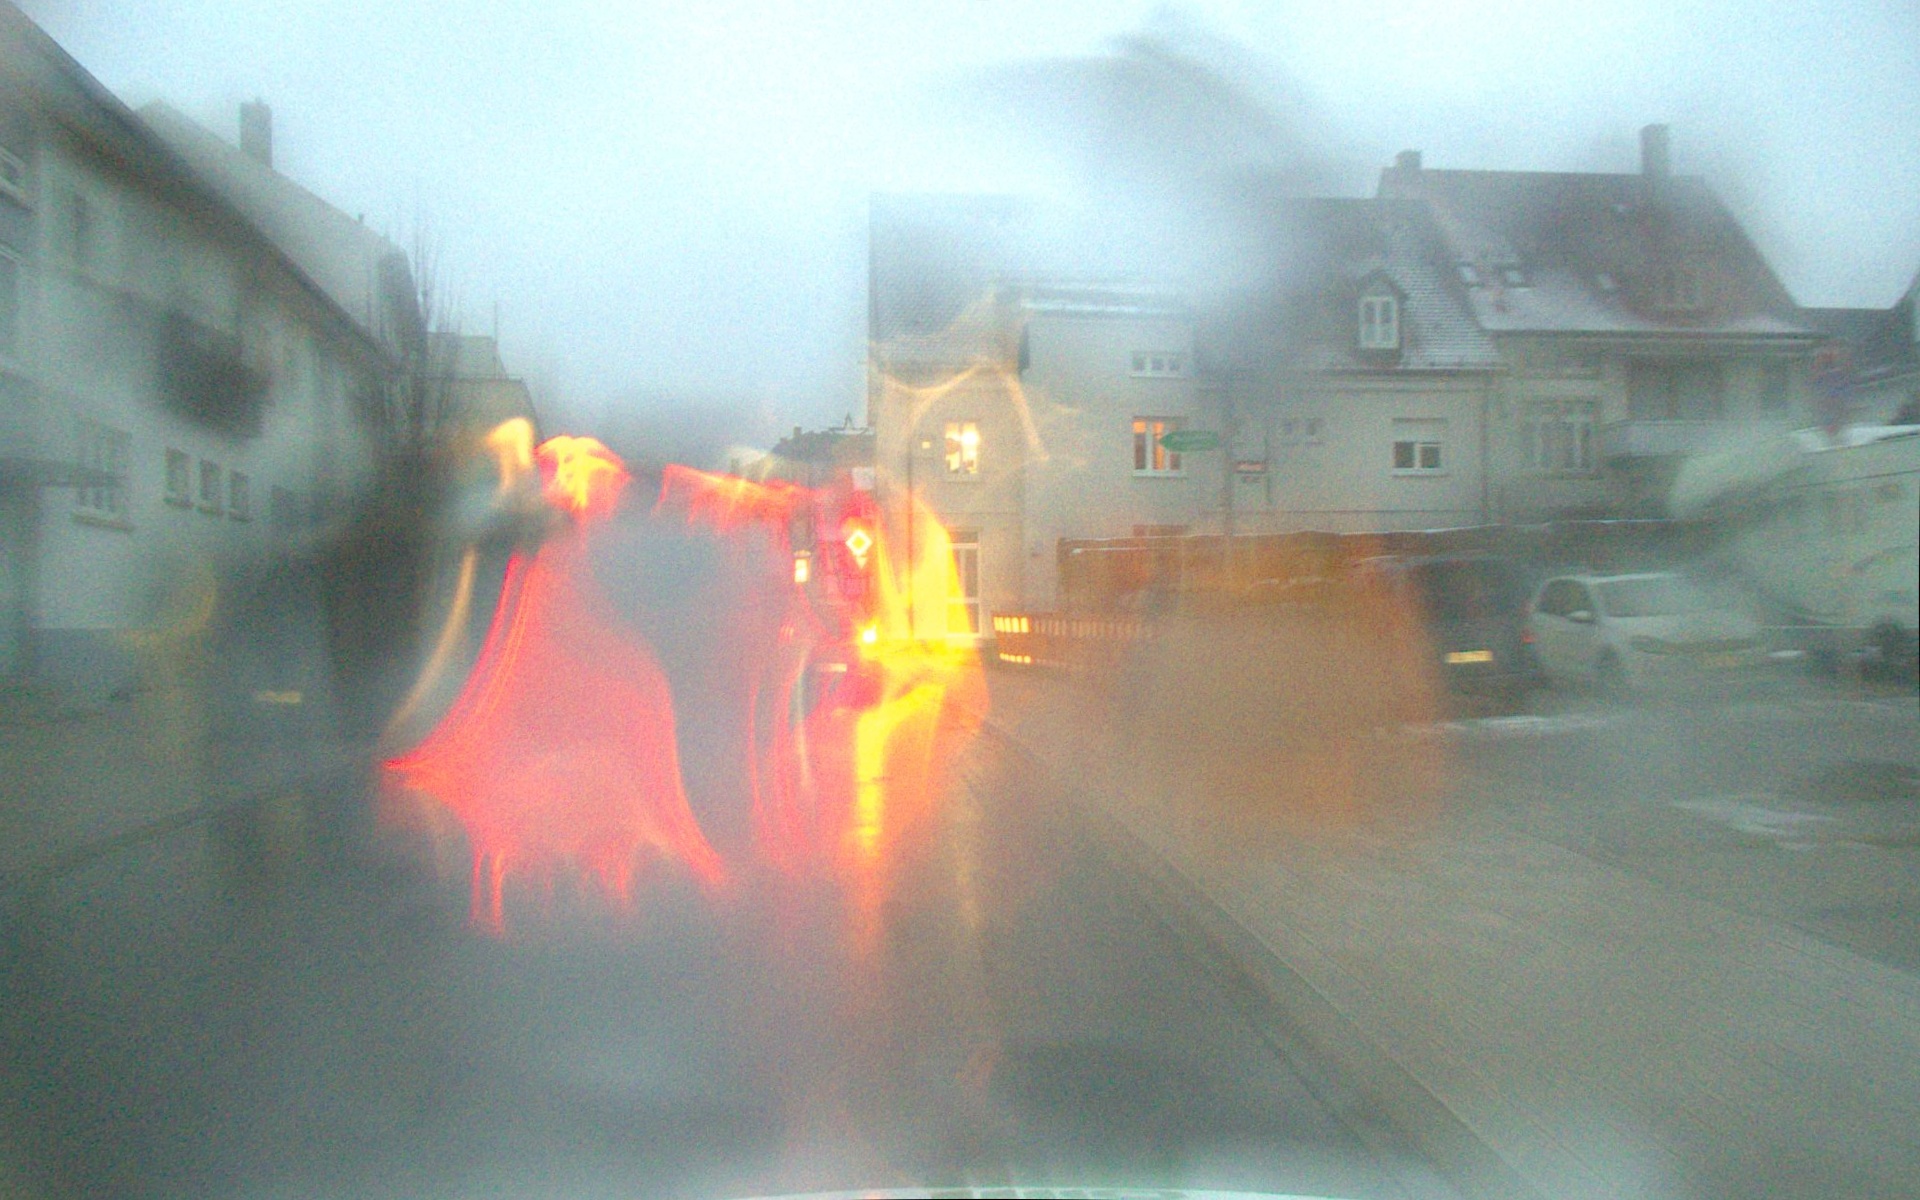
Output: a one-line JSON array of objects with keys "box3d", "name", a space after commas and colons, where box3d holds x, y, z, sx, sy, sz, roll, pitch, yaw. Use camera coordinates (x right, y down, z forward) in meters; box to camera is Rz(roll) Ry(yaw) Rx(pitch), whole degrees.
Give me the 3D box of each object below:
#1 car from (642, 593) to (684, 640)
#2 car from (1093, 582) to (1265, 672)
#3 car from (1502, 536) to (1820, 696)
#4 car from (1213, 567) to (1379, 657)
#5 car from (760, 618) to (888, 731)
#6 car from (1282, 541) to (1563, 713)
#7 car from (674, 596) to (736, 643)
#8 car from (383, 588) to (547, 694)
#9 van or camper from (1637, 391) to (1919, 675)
[{"box3d": [-14.516, 0.766, 81.064, 1.957, 2.241, 3.991, 0, 0, -9], "name": "car"}, {"box3d": [3.866, 0.447, 29.767, 1.855, 1.488, 3.620, -1, 1, -14], "name": "car"}, {"box3d": [8.317, 0.210, 20.092, 1.953, 1.639, 4.173, -3, -1, -1], "name": "car"}, {"box3d": [6.192, 0.192, 30.867, 1.691, 1.487, 3.623, -3, 1, -12], "name": "car"}, {"box3d": [-2.182, 1.086, 25.696, 1.780, 1.560, 3.993, 0, 0, -8], "name": "car"}, {"box3d": [5.510, 0.277, 20.361, 1.954, 1.795, 4.347, -3, 0, -4], "name": "car"}, {"box3d": [-9.022, 0.659, 58.258, 1.958, 1.616, 3.988, 0, 0, -12], "name": "car"}, {"box3d": [-8.514, 0.646, 28.852, 1.875, 1.556, 4.541, 4, 0, -7], "name": "car"}, {"box3d": [11.440, -0.810, 20.178, 2.603, 3.100, 6.719, -4, 1, -10], "name": "van or camper"}]
